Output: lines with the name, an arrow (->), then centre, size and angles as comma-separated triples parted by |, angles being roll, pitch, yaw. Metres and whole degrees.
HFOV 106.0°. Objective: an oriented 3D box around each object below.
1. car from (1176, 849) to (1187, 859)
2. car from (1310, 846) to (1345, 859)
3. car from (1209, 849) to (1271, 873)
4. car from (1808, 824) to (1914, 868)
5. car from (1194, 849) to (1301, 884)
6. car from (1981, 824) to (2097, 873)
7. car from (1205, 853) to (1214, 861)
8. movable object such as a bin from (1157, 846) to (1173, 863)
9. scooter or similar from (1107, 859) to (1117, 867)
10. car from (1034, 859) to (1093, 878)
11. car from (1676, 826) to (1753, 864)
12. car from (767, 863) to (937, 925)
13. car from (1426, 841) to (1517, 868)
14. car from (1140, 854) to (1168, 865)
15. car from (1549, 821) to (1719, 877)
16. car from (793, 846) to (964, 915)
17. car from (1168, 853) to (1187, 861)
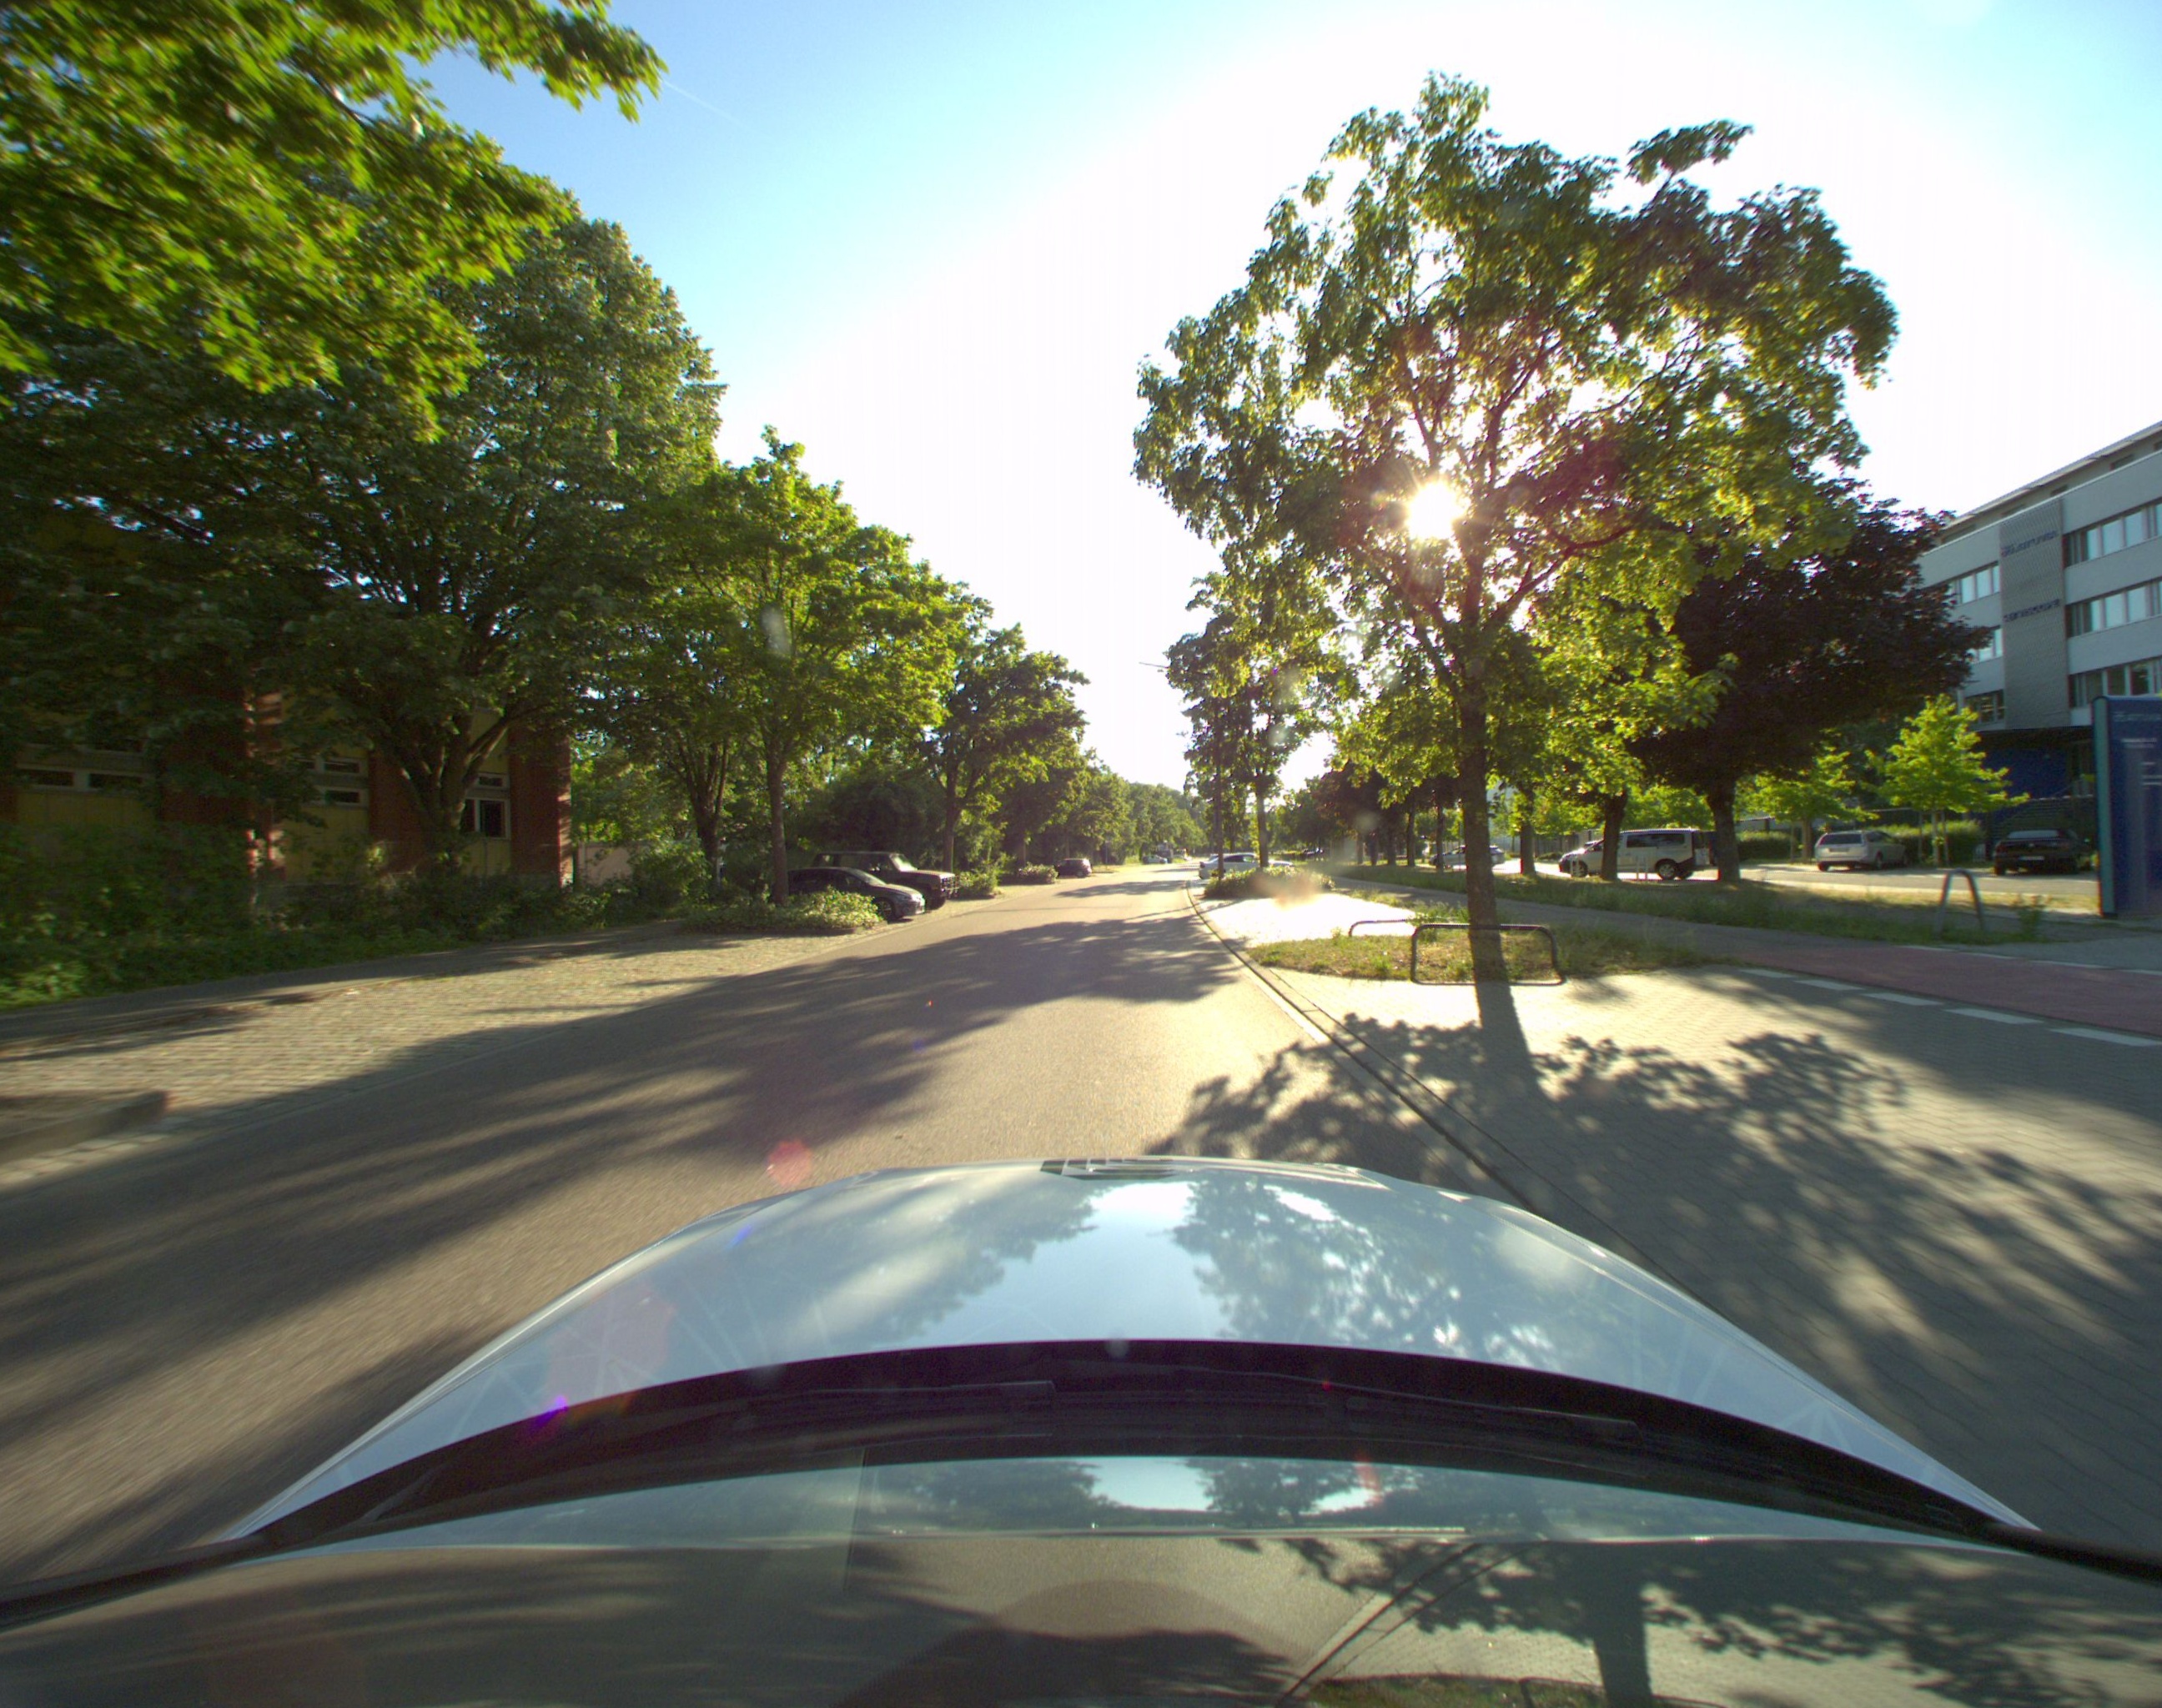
car -> 24.395, 0.001, 197.416 | 2.505, 2.386, 4.378 | -2, 0, 4
car -> 35.120, -0.170, 116.129 | 4.402, 1.706, 2.065 | -2, 0, 9
car -> 12.098, 0.508, 61.784 | 4.324, 1.479, 2.009 | -4, -1, 17
car -> 30.352, -0.318, 31.672 | 4.325, 1.528, 1.790 | -2, 0, -29
car -> 8.468, 0.646, 41.858 | 5.150, 1.574, 2.161 | -2, 0, 5
car -> 29.356, -0.175, 24.934 | 4.015, 1.354, 1.788 | -2, 0, -33
car -> 30.767, 0.658, 195.388 | 1.982, 1.904, 4.010 | -2, 0, 9
movable object such as a bin -> 15.356, 0.077, 148.529 | 2.823, 3.069, 4.936 | -2, 0, 7
scooter or similar -> 4.641, 1.358, 122.441 | 1.592, 1.145, 0.570 | -1, -1, -40
car -> -1.358, 1.116, 63.638 | 4.334, 1.479, 2.004 | 0, 0, 7
car -> 32.217, -0.456, 41.386 | 4.514, 1.750, 1.749 | -2, 0, -34
car -> -6.365, 1.101, 22.865 | 4.193, 1.530, 1.707 | -2, 0, 3
car -> 25.114, 0.030, 52.528 | 2.011, 1.574, 4.894 | -2, -1, -43
car -> 12.245, 0.896, 136.148 | 4.330, 1.547, 2.006 | -2, 0, 11
car -> 20.669, -0.194, 30.676 | 2.009, 1.933, 4.900 | -2, 1, -35
car -> -6.599, 0.833, 26.951 | 4.983, 2.020, 2.177 | -2, 0, 3
car -> 22.306, 0.688, 188.261 | 4.339, 1.479, 2.002 | -2, 0, 4
